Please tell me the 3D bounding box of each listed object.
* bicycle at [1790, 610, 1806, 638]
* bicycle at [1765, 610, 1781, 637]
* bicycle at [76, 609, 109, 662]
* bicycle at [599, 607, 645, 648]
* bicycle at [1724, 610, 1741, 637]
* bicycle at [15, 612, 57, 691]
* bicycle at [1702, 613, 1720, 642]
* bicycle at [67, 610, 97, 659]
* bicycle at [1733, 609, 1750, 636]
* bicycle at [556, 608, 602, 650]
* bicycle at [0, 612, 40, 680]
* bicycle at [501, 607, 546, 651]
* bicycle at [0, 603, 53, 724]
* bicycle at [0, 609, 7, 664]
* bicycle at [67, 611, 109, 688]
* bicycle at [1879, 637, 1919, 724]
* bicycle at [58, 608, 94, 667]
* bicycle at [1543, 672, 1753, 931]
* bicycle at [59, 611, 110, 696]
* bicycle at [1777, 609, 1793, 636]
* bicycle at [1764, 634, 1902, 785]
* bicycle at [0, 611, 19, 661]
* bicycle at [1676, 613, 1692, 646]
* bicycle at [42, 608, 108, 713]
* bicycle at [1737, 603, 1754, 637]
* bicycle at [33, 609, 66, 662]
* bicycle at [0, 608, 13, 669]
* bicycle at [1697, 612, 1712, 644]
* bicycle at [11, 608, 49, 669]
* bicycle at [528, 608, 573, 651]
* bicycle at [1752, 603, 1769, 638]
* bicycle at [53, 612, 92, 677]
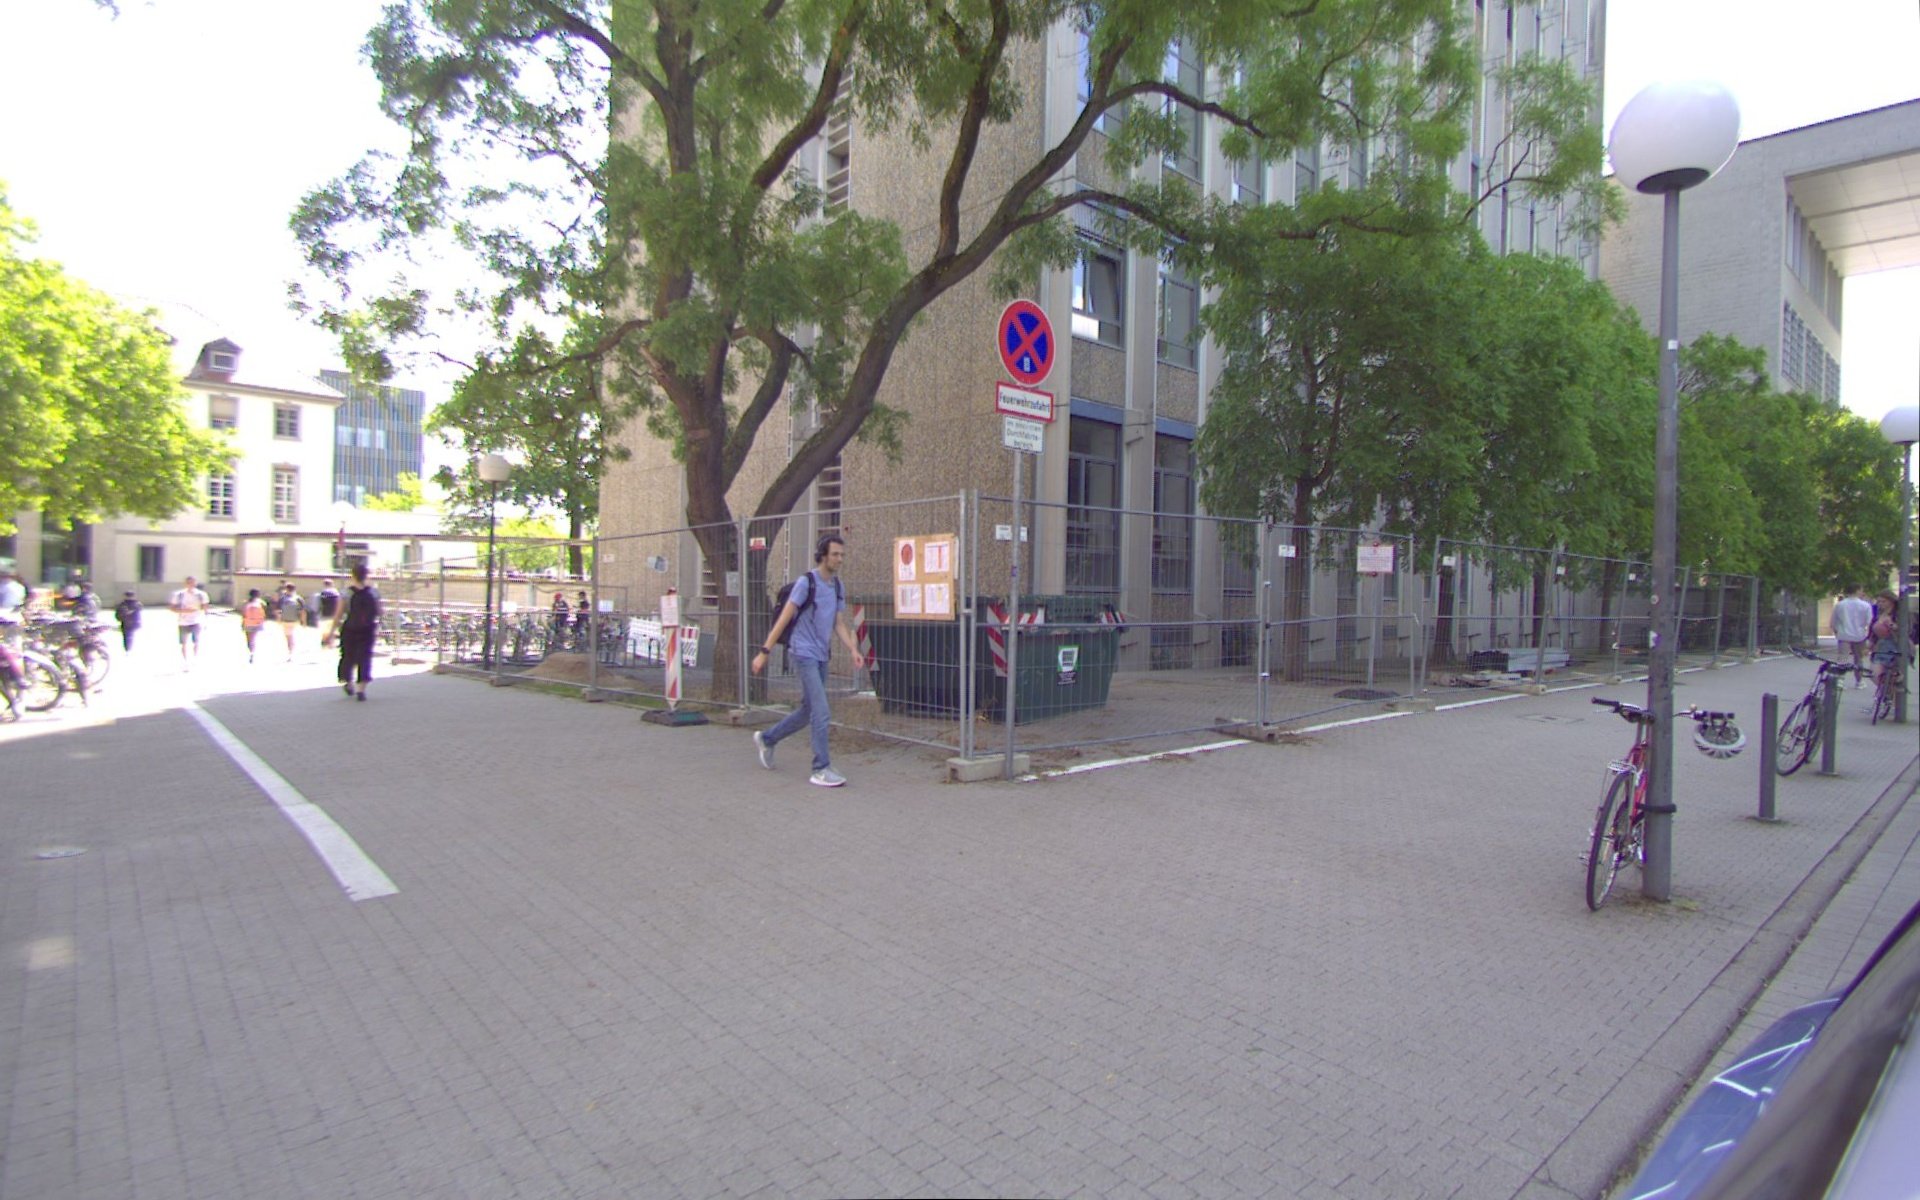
[{"bbox_3d":[28.195,0.798,34.048,0.290,0.917,1.425,1,0,44],"label":"bicycle"},{"bbox_3d":[27.845,0.793,34.662,0.290,0.917,1.425,1,0,44],"label":"bicycle"},{"bbox_3d":[-20.473,0.821,23.869,0.536,1.184,1.998,1,-2,-42],"label":"bicycle"},{"bbox_3d":[-10.078,0.813,30.156,0.536,1.184,1.998,1,-2,-42],"label":"bicycle"},{"bbox_3d":[26.156,0.780,34.268,0.290,0.898,1.425,1,0,44],"label":"bicycle"},{"bbox_3d":[-14.645,0.792,16.057,0.466,1.184,1.998,1,-2,-42],"label":"bicycle"},{"bbox_3d":[24.419,0.884,32.896,0.290,0.917,1.425,1,0,44],"label":"bicycle"},{"bbox_3d":[-22.123,0.857,25.486,0.536,1.184,1.998,1,-2,-42],"label":"bicycle"},{"bbox_3d":[27.276,0.787,35.321,0.290,0.917,1.425,1,0,44],"label":"bicycle"},{"bbox_3d":[-11.065,0.834,29.357,0.536,1.184,1.998,1,-2,-42],"label":"bicycle"},{"bbox_3d":[-17.364,0.834,18.694,0.536,1.184,1.998,1,-2,-42],"label":"bicycle"},{"bbox_3d":[-12.246,0.803,28.364,0.536,1.184,1.998,1,-2,-42],"label":"bicycle"},{"bbox_3d":[-9.397,0.598,10.046,0.465,1.124,1.698,0,-1,-38],"label":"bicycle"},{"bbox_3d":[-21.712,0.810,22.623,0.536,1.184,1.998,1,-2,-42],"label":"bicycle"},{"bbox_3d":[-14.291,0.784,16.569,0.466,1.184,1.998,1,-2,-42],"label":"bicycle"},{"bbox_3d":[11.716,0.968,12.477,1.702,0.947,0.396,0,2,-43],"label":"bicycle"},{"bbox_3d":[-18.606,0.781,21.281,0.536,1.184,1.998,1,-2,-42],"label":"bicycle"},{"bbox_3d":[3.461,0.907,5.029,1.710,0.973,0.451,0,3,-43],"label":"bicycle"},{"bbox_3d":[-12.981,0.766,15.031,0.465,1.184,1.810,0,-1,-38],"label":"bicycle"},{"bbox_3d":[27.979,0.755,34.308,0.290,0.917,1.425,1,0,44],"label":"bicycle"},{"bbox_3d":[7.499,0.870,8.667,1.719,1.106,0.709,0,0,-43],"label":"bicycle"},{"bbox_3d":[-23.226,0.863,24.544,0.536,1.184,1.998,1,-2,-42],"label":"bicycle"},{"bbox_3d":[20.985,0.840,29.329,0.290,0.917,1.596,1,0,39],"label":"bicycle"},{"bbox_3d":[-10.231,0.659,11.731,0.465,1.124,1.810,0,-1,-38],"label":"bicycle"},{"bbox_3d":[26.394,0.666,34.011,0.290,1.108,1.425,1,0,44],"label":"bicycle"},{"bbox_3d":[-21.119,0.816,23.477,0.536,1.184,1.998,1,-2,-42],"label":"bicycle"},{"bbox_3d":[-19.464,0.767,20.362,0.536,1.184,1.998,1,-2,-42],"label":"bicycle"},{"bbox_3d":[22.585,0.841,30.690,0.290,0.917,1.779,1,1,39],"label":"bicycle"},{"bbox_3d":[-19.029,0.775,20.725,0.536,1.184,1.998,1,-2,-42],"label":"bicycle"},{"bbox_3d":[-11.654,0.841,28.760,0.536,1.184,1.998,1,-2,-42],"label":"bicycle"},{"bbox_3d":[26.691,0.666,33.751,0.290,1.142,1.425,1,0,44],"label":"bicycle"},{"bbox_3d":[-17.125,0.843,19.515,0.536,1.184,1.998,1,-2,-42],"label":"bicycle"}]
